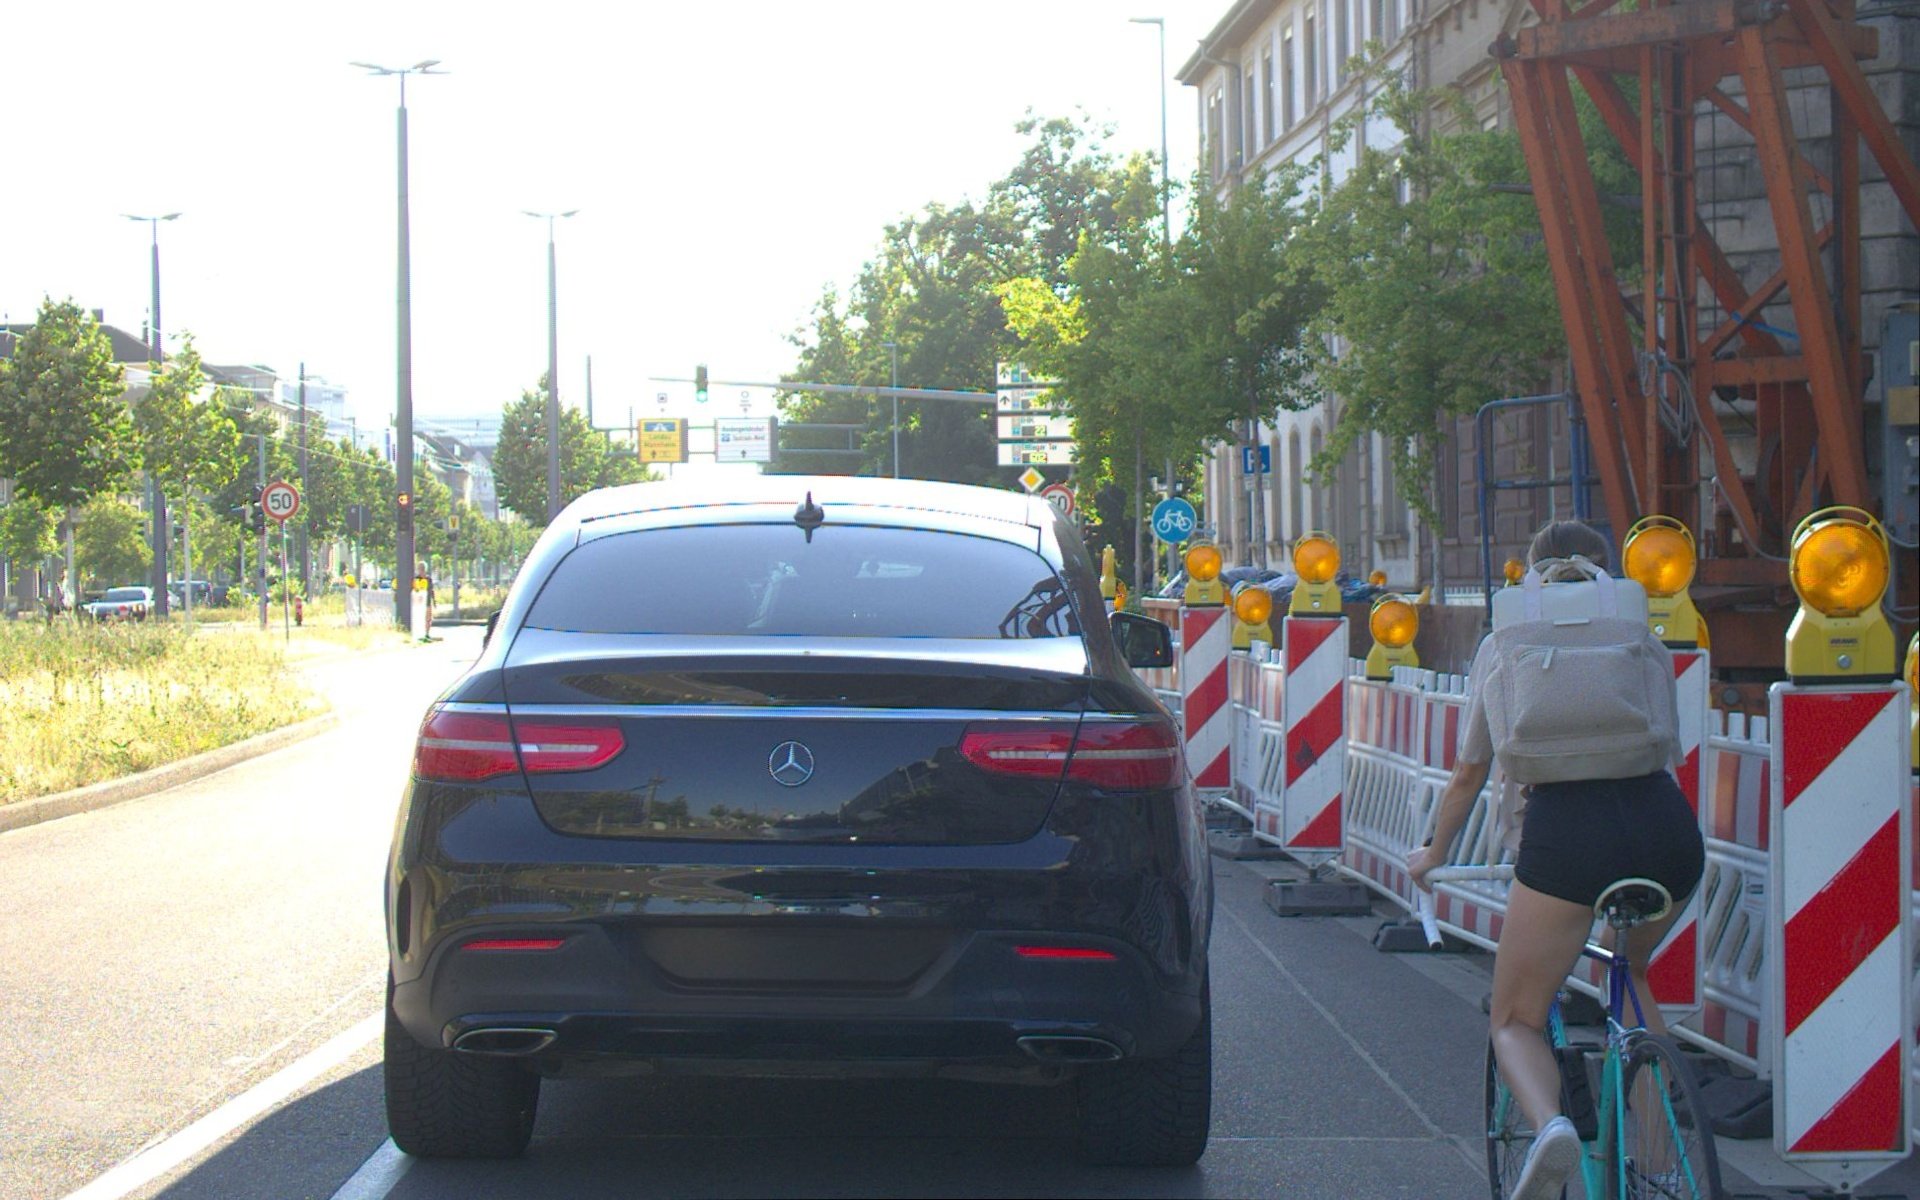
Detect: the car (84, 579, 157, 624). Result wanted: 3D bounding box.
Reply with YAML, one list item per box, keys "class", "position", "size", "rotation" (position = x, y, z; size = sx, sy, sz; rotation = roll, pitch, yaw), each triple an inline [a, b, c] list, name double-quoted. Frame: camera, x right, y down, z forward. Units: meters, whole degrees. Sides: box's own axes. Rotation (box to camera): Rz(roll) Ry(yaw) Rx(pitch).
- class: "car"
  position: [-27.983, 0.044, 114.701]
  size: [1.708, 1.437, 3.583]
  rotation: [1, 0, -3]

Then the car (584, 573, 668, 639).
- class: "car"
  position: [-7.536, 0.122, 77.811]
  size: [1.708, 1.437, 3.583]
  rotation: [1, 0, -3]

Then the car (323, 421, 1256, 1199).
- class: "car"
  position: [-0.389, 0.491, 9.414]
  size: [1.993, 1.766, 4.000]
  rotation: [1, 0, -1]

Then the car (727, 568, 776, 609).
- class: "car"
  position: [-7.545, -0.432, 124.762]
  size: [1.708, 1.437, 3.583]
  rotation: [1, 0, -3]

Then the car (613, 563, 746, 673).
- class: "car"
  position: [-3.841, 0.220, 47.521]
  size: [1.708, 1.437, 3.583]
  rotation: [0, 1, -3]

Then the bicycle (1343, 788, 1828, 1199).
- class: "bicycle"
  position: [1.135, 0.939, 6.574]
  size: [0.512, 1.048, 1.725]
  rotation: [1, 0, -3]

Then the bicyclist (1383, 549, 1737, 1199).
- class: "bicyclist"
  position: [1.128, 0.604, 6.555]
  size: [0.522, 1.391, 0.615]
  rotation: [1, 0, -3]

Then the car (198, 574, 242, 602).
- class: "car"
  position: [-39.100, -0.619, 181.706]
  size: [1.708, 1.437, 3.583]
  rotation: [1, 0, -3]
